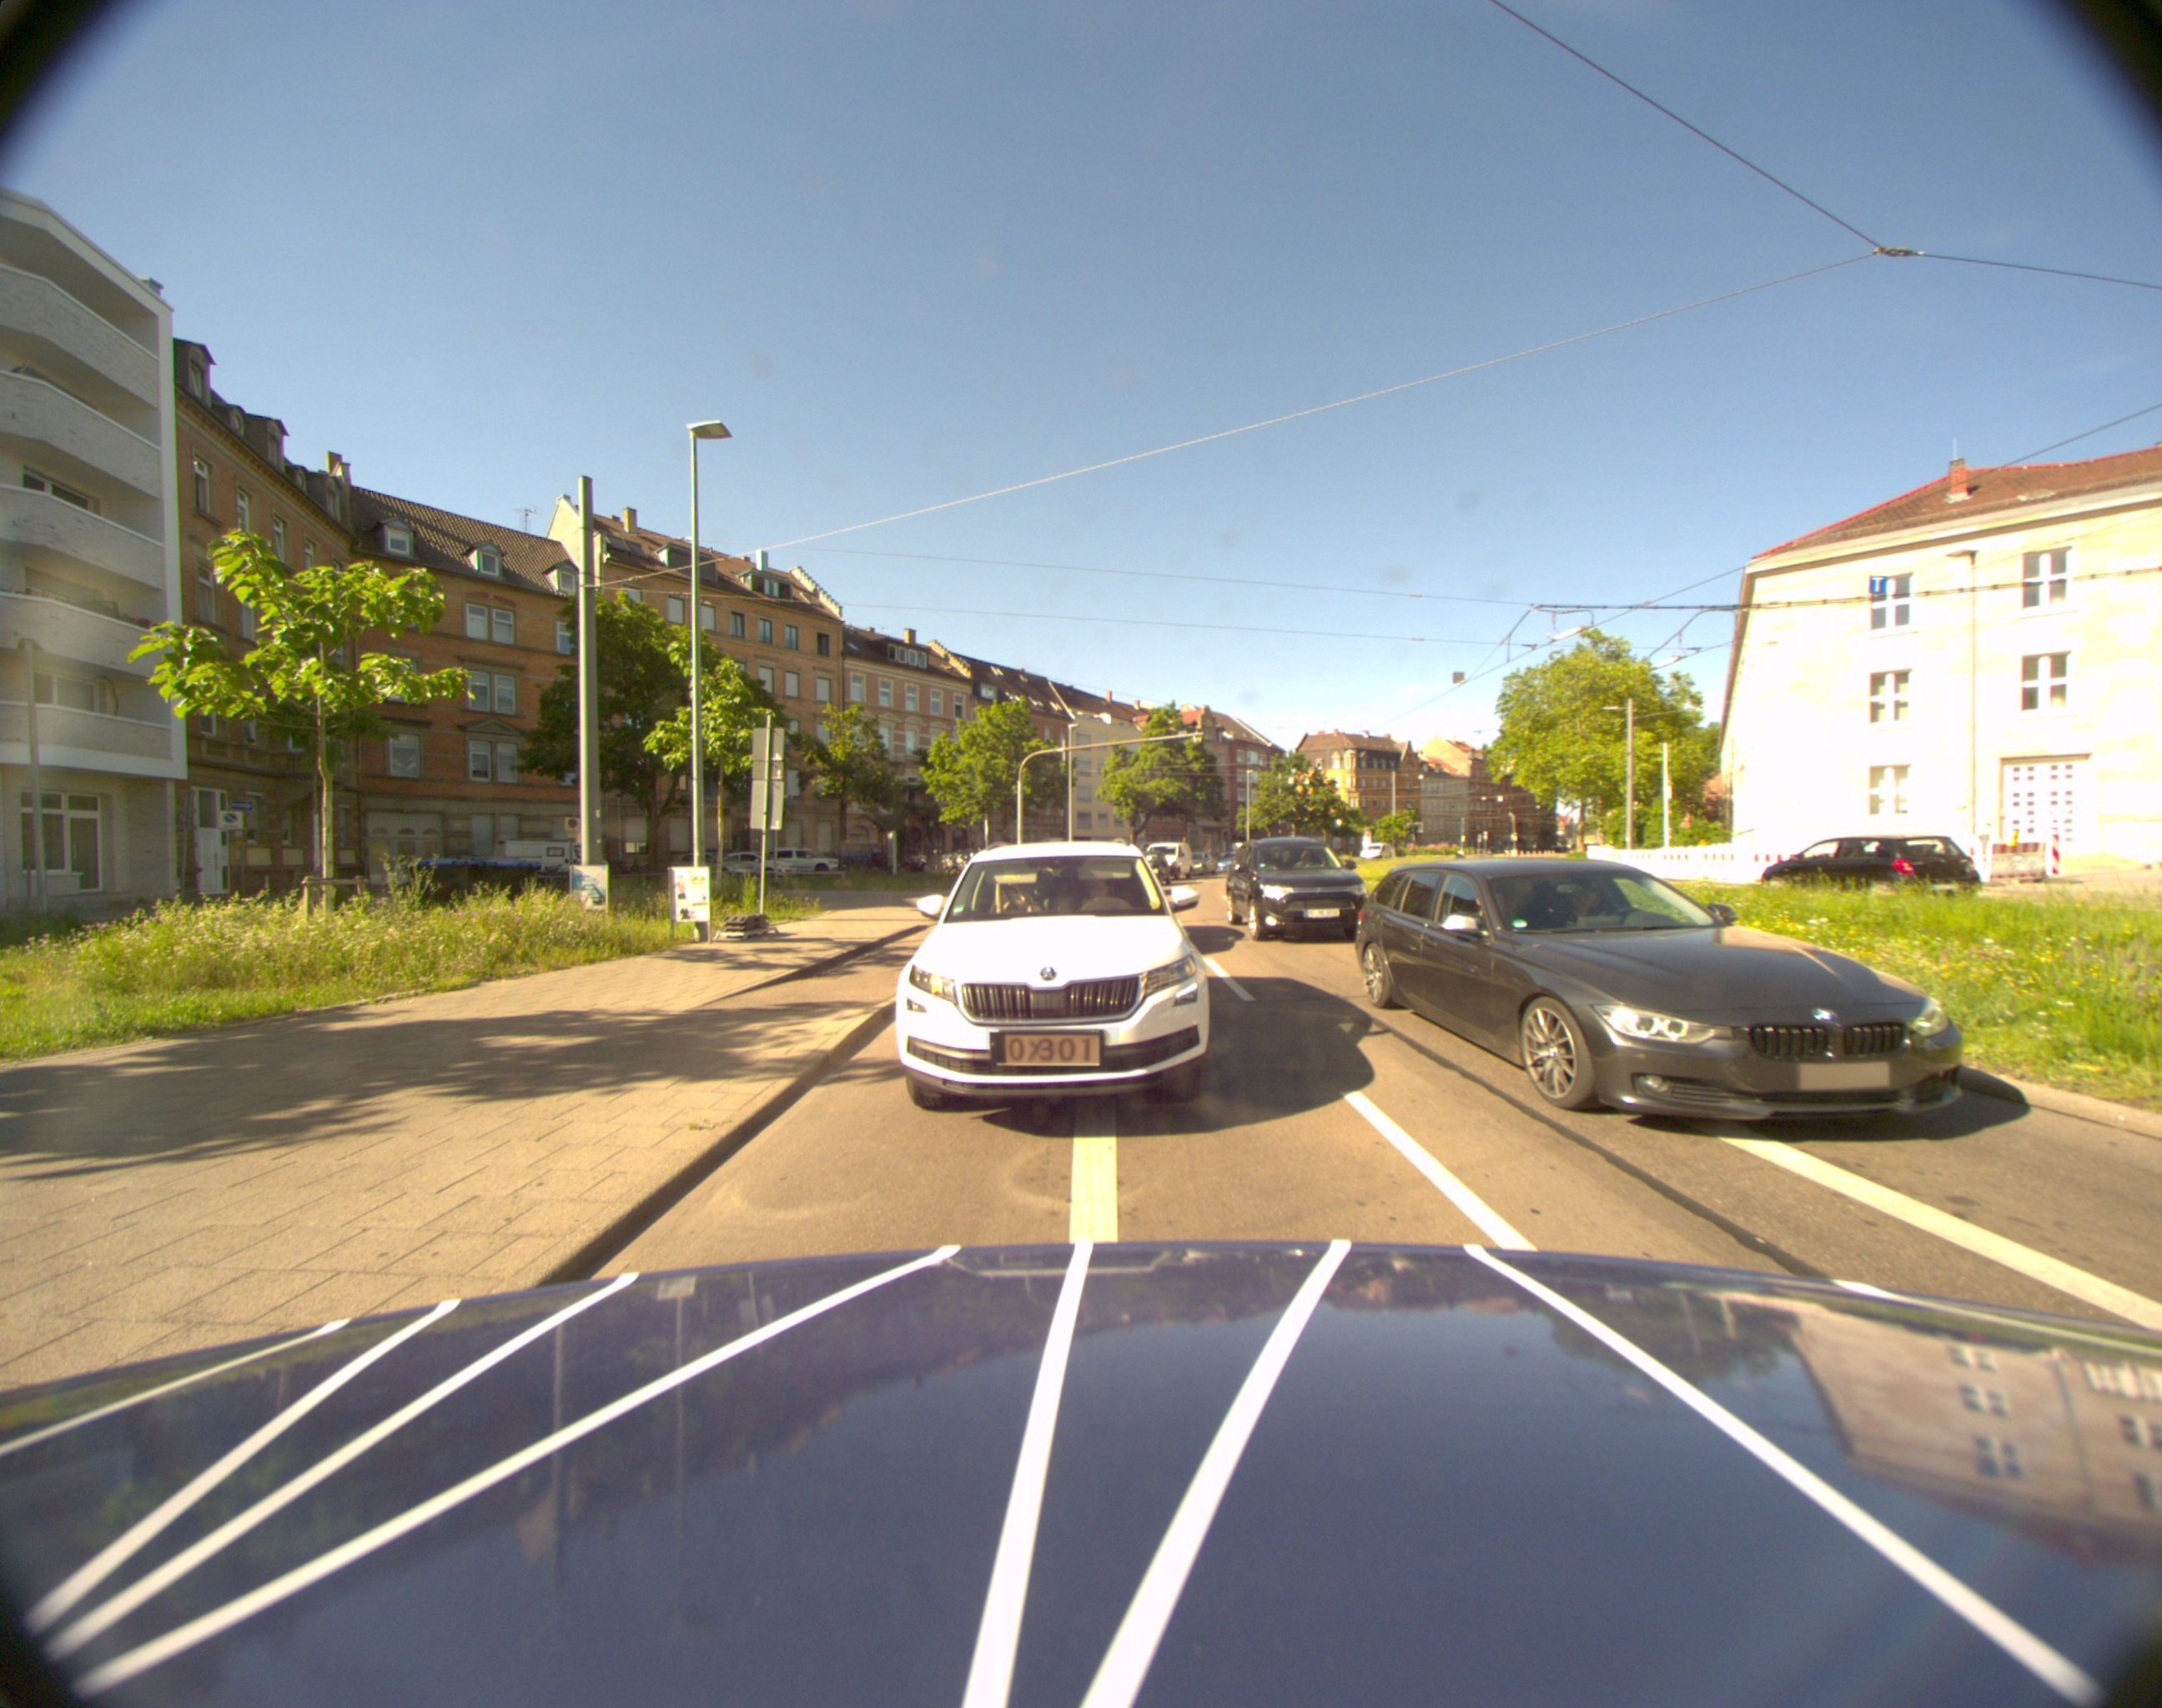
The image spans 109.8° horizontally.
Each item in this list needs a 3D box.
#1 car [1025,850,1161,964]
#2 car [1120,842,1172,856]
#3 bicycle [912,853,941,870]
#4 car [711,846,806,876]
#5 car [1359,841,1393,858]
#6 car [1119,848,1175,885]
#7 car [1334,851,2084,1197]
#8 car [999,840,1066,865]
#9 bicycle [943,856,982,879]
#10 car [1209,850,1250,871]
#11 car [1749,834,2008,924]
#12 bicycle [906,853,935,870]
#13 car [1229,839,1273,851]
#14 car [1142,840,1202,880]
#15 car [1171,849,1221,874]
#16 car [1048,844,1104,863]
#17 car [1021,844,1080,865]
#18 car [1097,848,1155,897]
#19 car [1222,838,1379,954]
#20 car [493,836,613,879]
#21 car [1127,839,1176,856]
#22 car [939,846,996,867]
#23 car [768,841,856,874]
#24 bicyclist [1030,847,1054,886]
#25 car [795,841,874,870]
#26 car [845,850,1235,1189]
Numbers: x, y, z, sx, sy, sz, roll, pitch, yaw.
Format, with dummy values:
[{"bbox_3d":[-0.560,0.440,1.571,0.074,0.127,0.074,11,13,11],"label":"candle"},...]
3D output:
[{"bbox_3d":[0.190,0.734,12.582,1.873,1.547,4.000,-1,1,1],"label":"car"},{"bbox_3d":[5.896,-0.461,68.488,4.393,1.227,2.002,-1,1,13],"label":"car"},{"bbox_3d":[-9.347,0.445,45.967,1.757,1.018,0.453,0,1,26],"label":"bicycle"},{"bbox_3d":[-16.538,0.328,39.113,3.996,1.455,2.000,-1,1,3],"label":"car"},{"bbox_3d":[28.062,-0.481,72.298,1.869,1.547,4.008,0,1,39],"label":"car"},{"bbox_3d":[3.093,0.532,34.744,1.871,1.605,3.913,-1,1,15],"label":"car"},{"bbox_3d":[3.453,0.737,5.527,1.840,1.422,4.484,-2,1,2],"label":"car"},{"bbox_3d":[-3.552,-0.128,56.116,4.789,1.761,1.732,-1,1,3],"label":"car"},{"bbox_3d":[-5.682,0.642,36.518,1.764,1.018,0.567,-1,1,-26],"label":"bicycle"},{"bbox_3d":[10.533,0.444,53.630,1.826,1.377,4.662,-1,1,24],"label":"car"},{"bbox_3d":[17.380,0.476,16.896,1.768,1.740,4.001,-1,1,5],"label":"car"},{"bbox_3d":[-9.532,0.447,45.007,1.757,1.018,0.453,0,1,26],"label":"bicycle"},{"bbox_3d":[18.900,-0.993,84.595,4.397,1.203,2.000,-1,1,3],"label":"car"},{"bbox_3d":[4.929,0.276,40.714,1.870,1.970,4.662,0,1,24],"label":"car"},{"bbox_3d":[7.080,0.426,46.479,1.870,1.377,4.662,-1,1,24],"label":"car"},{"bbox_3d":[-0.339,-0.041,61.277,4.397,1.453,2.000,-1,1,2],"label":"car"},{"bbox_3d":[-2.316,0.035,58.672,4.397,1.498,2.000,-1,1,2],"label":"car"},{"bbox_3d":[1.637,0.595,26.942,1.873,1.547,4.001,-1,1,4],"label":"car"},{"bbox_3d":[3.662,0.605,13.458,1.768,1.675,4.328,-2,1,4],"label":"car"},{"bbox_3d":[-27.019,0.139,39.037,1.994,2.100,4.652,0,1,40],"label":"car"},{"bbox_3d":[6.655,-0.600,71.344,4.393,1.453,2.002,-1,1,13],"label":"car"},{"bbox_3d":[-7.628,0.175,51.238,3.462,1.324,1.732,-1,1,3],"label":"car"},{"bbox_3d":[-14.589,0.181,41.391,3.996,1.652,2.000,-1,1,3],"label":"car"},{"bbox_3d":[-1.424,0.440,27.700,0.697,1.369,0.737,0,3,-15],"label":"bicyclist"},{"bbox_3d":[-14.717,0.075,45.520,3.996,1.652,2.000,-1,1,3],"label":"car"},{"bbox_3d":[-0.169,0.797,5.867,1.873,1.621,4.338,-1,1,1],"label":"car"}]
